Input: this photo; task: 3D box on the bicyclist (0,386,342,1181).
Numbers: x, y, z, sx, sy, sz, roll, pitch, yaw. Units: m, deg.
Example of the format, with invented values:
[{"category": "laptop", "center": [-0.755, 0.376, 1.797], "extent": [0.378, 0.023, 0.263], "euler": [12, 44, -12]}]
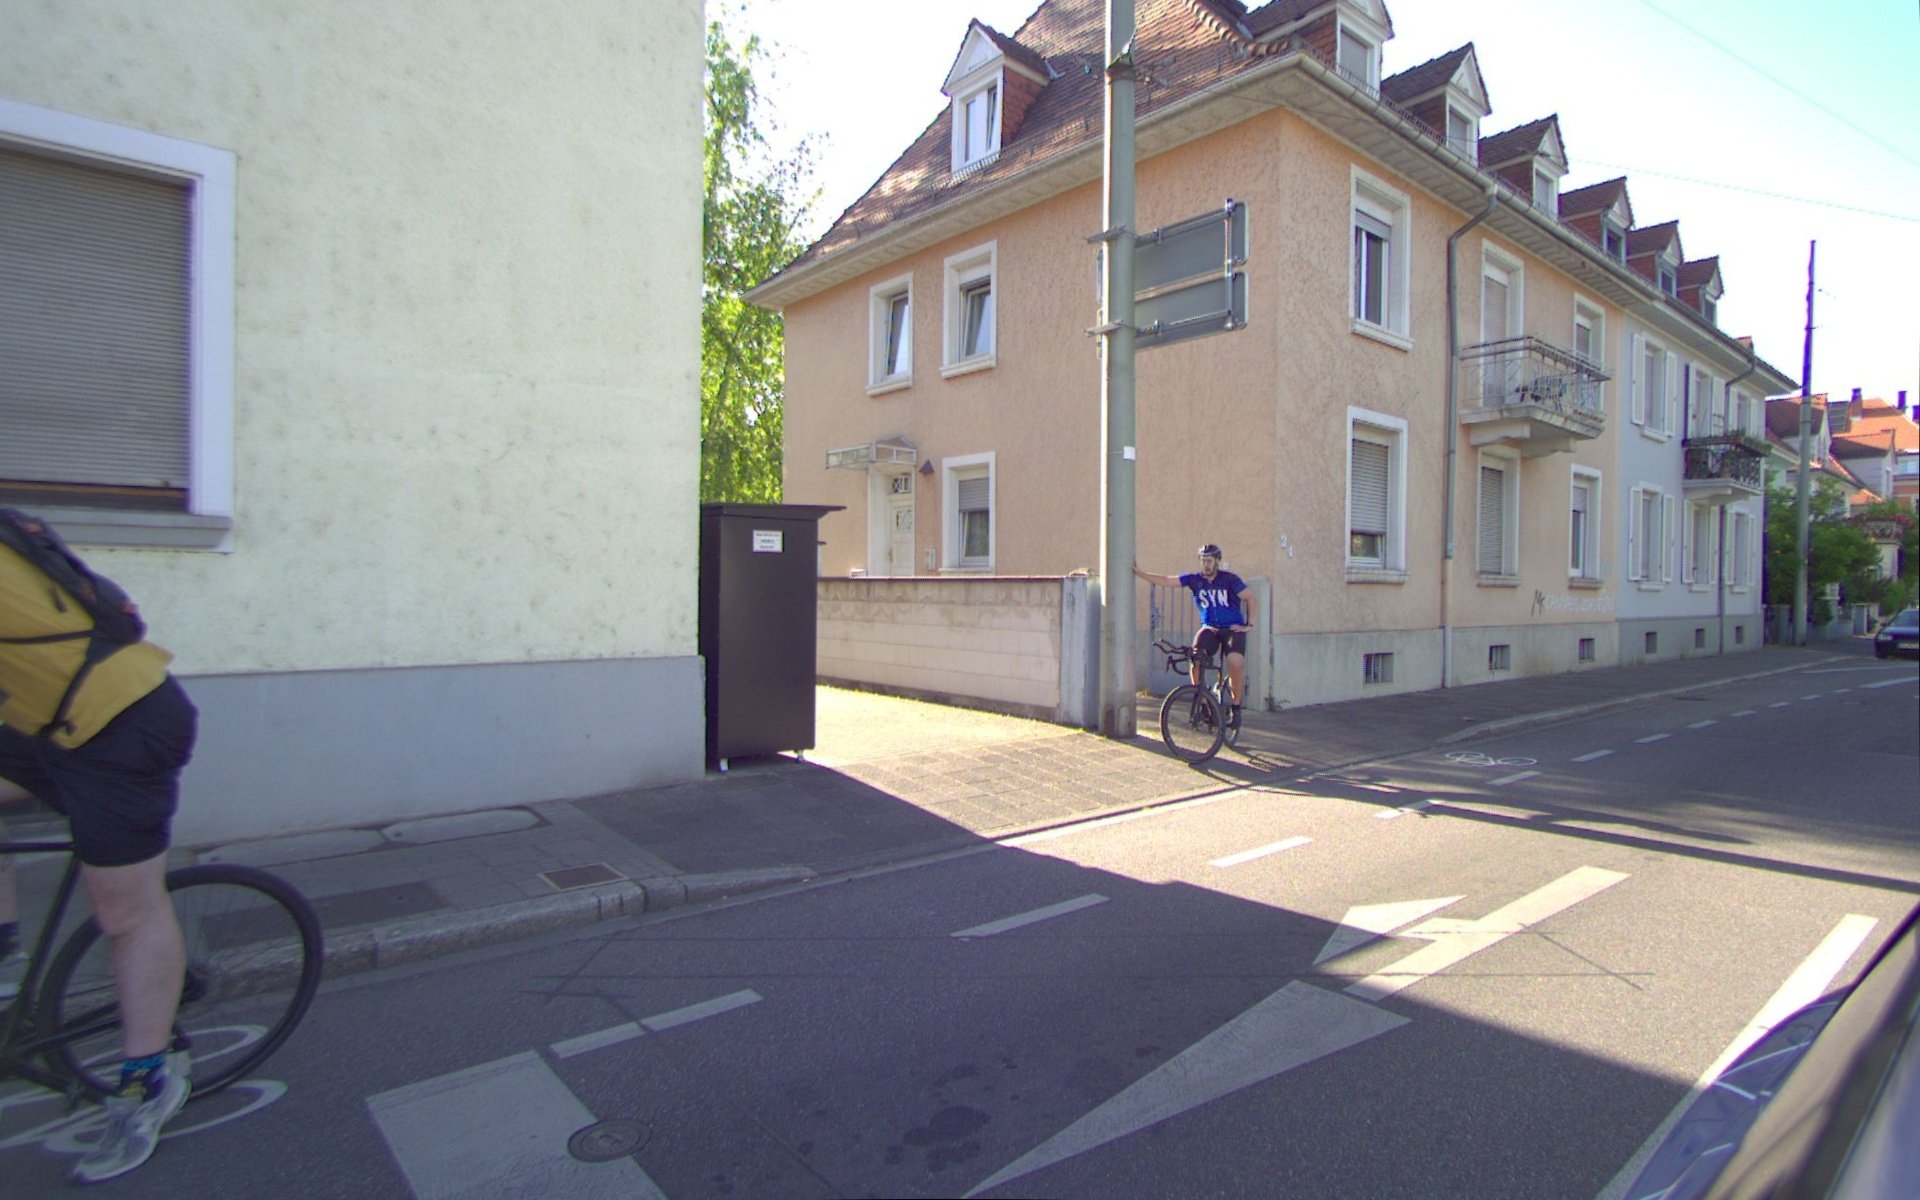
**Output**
[{"category": "bicyclist", "center": [-2.301, 0.420, 2.697], "extent": [1.018, 1.840, 0.653], "euler": [0, 1, -41]}]

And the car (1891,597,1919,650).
[{"category": "car", "center": [26.697, 0.625, 27.342], "extent": [3.796, 1.382, 1.648], "euler": [0, 1, -38]}]

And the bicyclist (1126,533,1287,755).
[{"category": "bicyclist", "center": [2.283, 0.359, 9.432], "extent": [0.831, 1.887, 1.076], "euler": [0, 4, -40]}]

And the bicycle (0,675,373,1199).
[{"category": "bicycle", "center": [-2.477, 0.842, 2.532], "extent": [1.669, 1.180, 0.572], "euler": [0, 1, -41]}]

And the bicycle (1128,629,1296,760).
[{"category": "bicycle", "center": [2.316, 0.816, 9.206], "extent": [1.669, 1.003, 0.572], "euler": [0, 4, -41]}]
